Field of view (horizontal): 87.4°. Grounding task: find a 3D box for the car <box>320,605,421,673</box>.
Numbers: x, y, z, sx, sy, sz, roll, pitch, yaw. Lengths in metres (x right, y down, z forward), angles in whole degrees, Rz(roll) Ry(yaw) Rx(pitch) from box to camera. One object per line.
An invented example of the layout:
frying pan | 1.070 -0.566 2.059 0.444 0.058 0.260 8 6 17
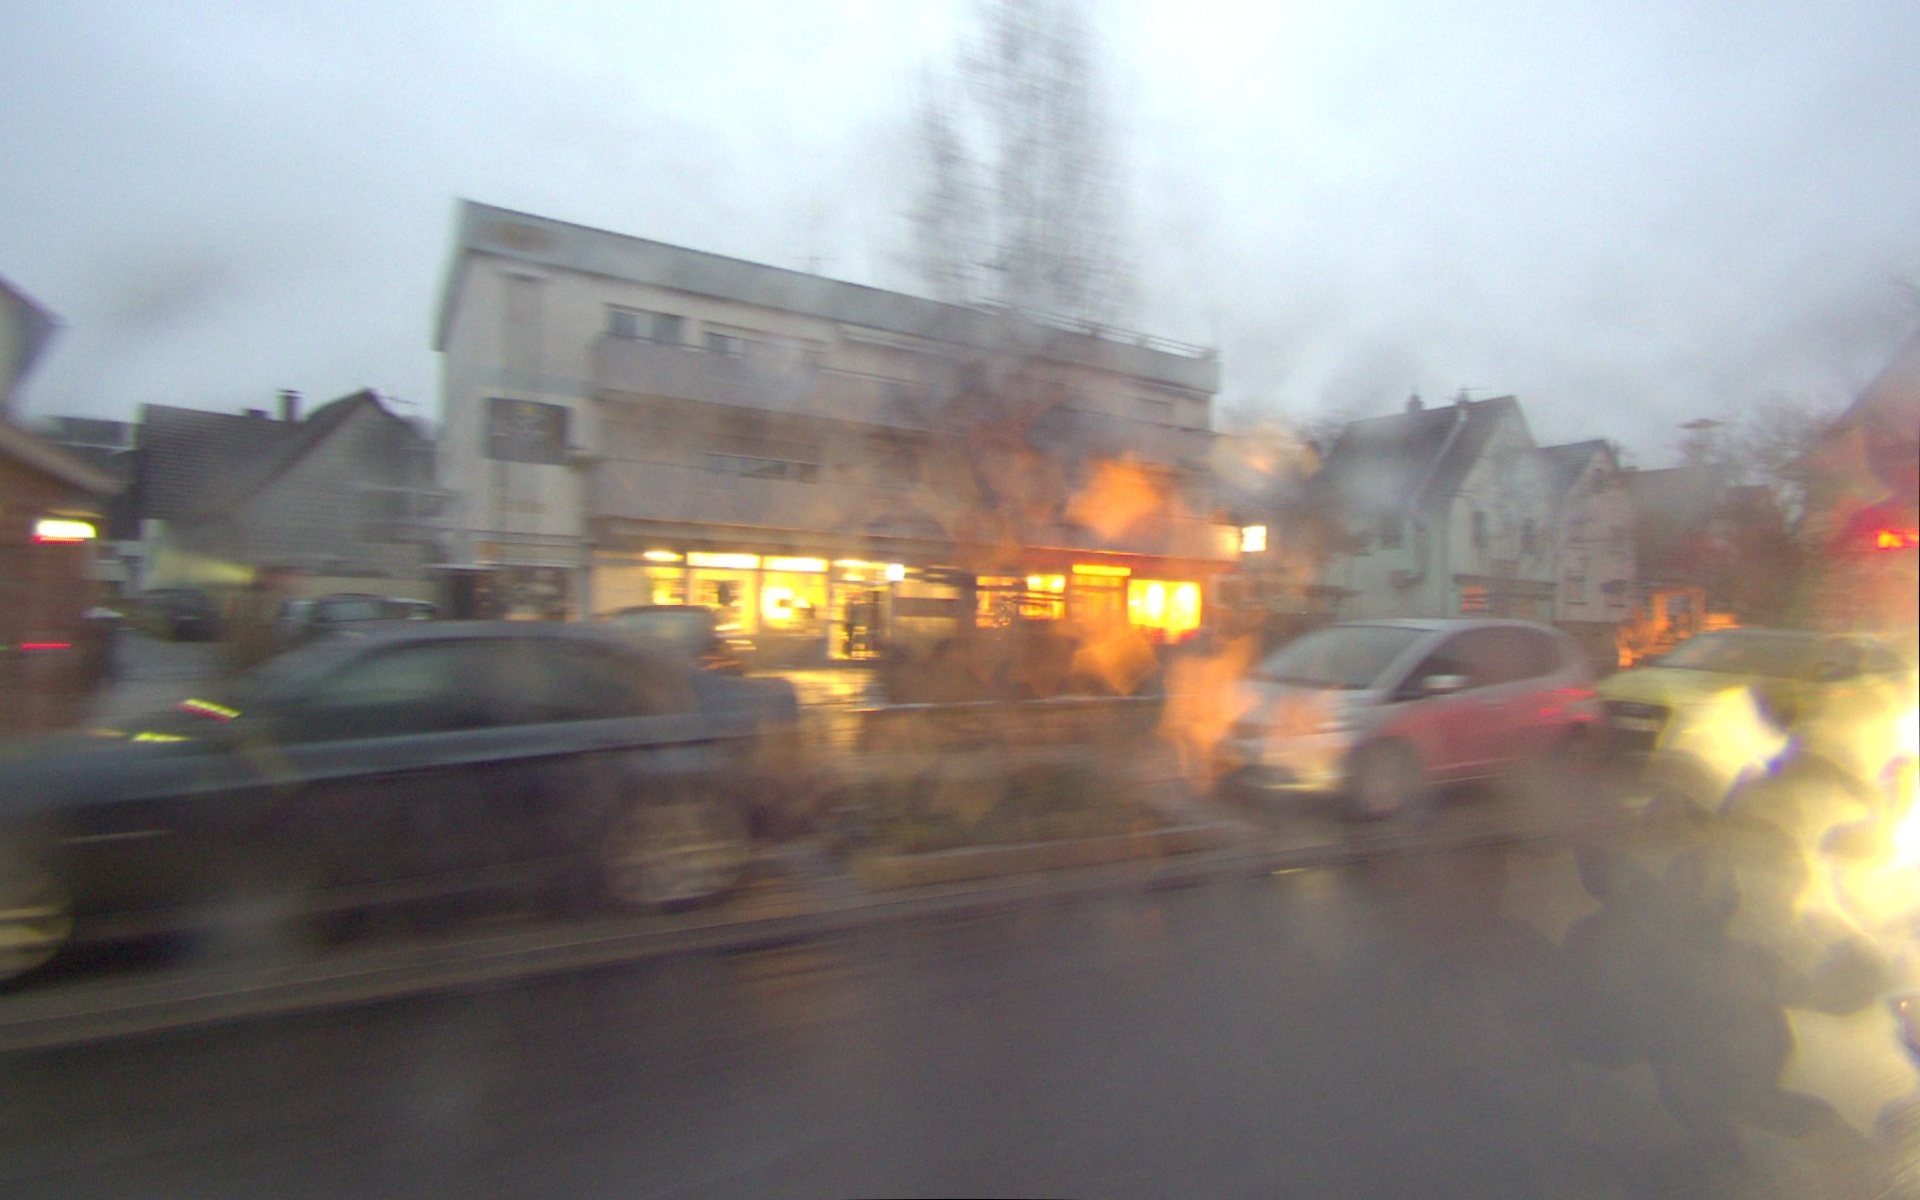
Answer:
car | -13.966 0.877 23.991 1.853 1.486 3.971 1 -1 -28

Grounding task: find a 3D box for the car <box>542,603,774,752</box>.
car | -3.436 0.855 12.225 1.706 1.496 4.088 0 -2 -2

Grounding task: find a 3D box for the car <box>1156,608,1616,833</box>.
car | 3.697 0.883 8.641 3.726 1.536 1.685 1 0 -28

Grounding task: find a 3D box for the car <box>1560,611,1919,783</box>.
car | 8.789 0.946 10.935 4.282 1.536 1.744 1 1 -24

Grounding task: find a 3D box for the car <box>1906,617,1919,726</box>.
car | 15.754 1.075 14.544 3.946 1.536 1.664 1 1 -25

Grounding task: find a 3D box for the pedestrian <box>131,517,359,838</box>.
pedestrian | -4.551 0.467 6.487 1.046 1.891 0.751 1 -1 -25

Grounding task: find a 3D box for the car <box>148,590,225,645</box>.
car | -27.341 0.619 35.463 1.743 1.824 3.948 1 -1 -44

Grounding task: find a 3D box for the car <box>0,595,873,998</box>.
car | -2.817 0.764 5.148 4.401 1.492 1.740 1 0 -27
